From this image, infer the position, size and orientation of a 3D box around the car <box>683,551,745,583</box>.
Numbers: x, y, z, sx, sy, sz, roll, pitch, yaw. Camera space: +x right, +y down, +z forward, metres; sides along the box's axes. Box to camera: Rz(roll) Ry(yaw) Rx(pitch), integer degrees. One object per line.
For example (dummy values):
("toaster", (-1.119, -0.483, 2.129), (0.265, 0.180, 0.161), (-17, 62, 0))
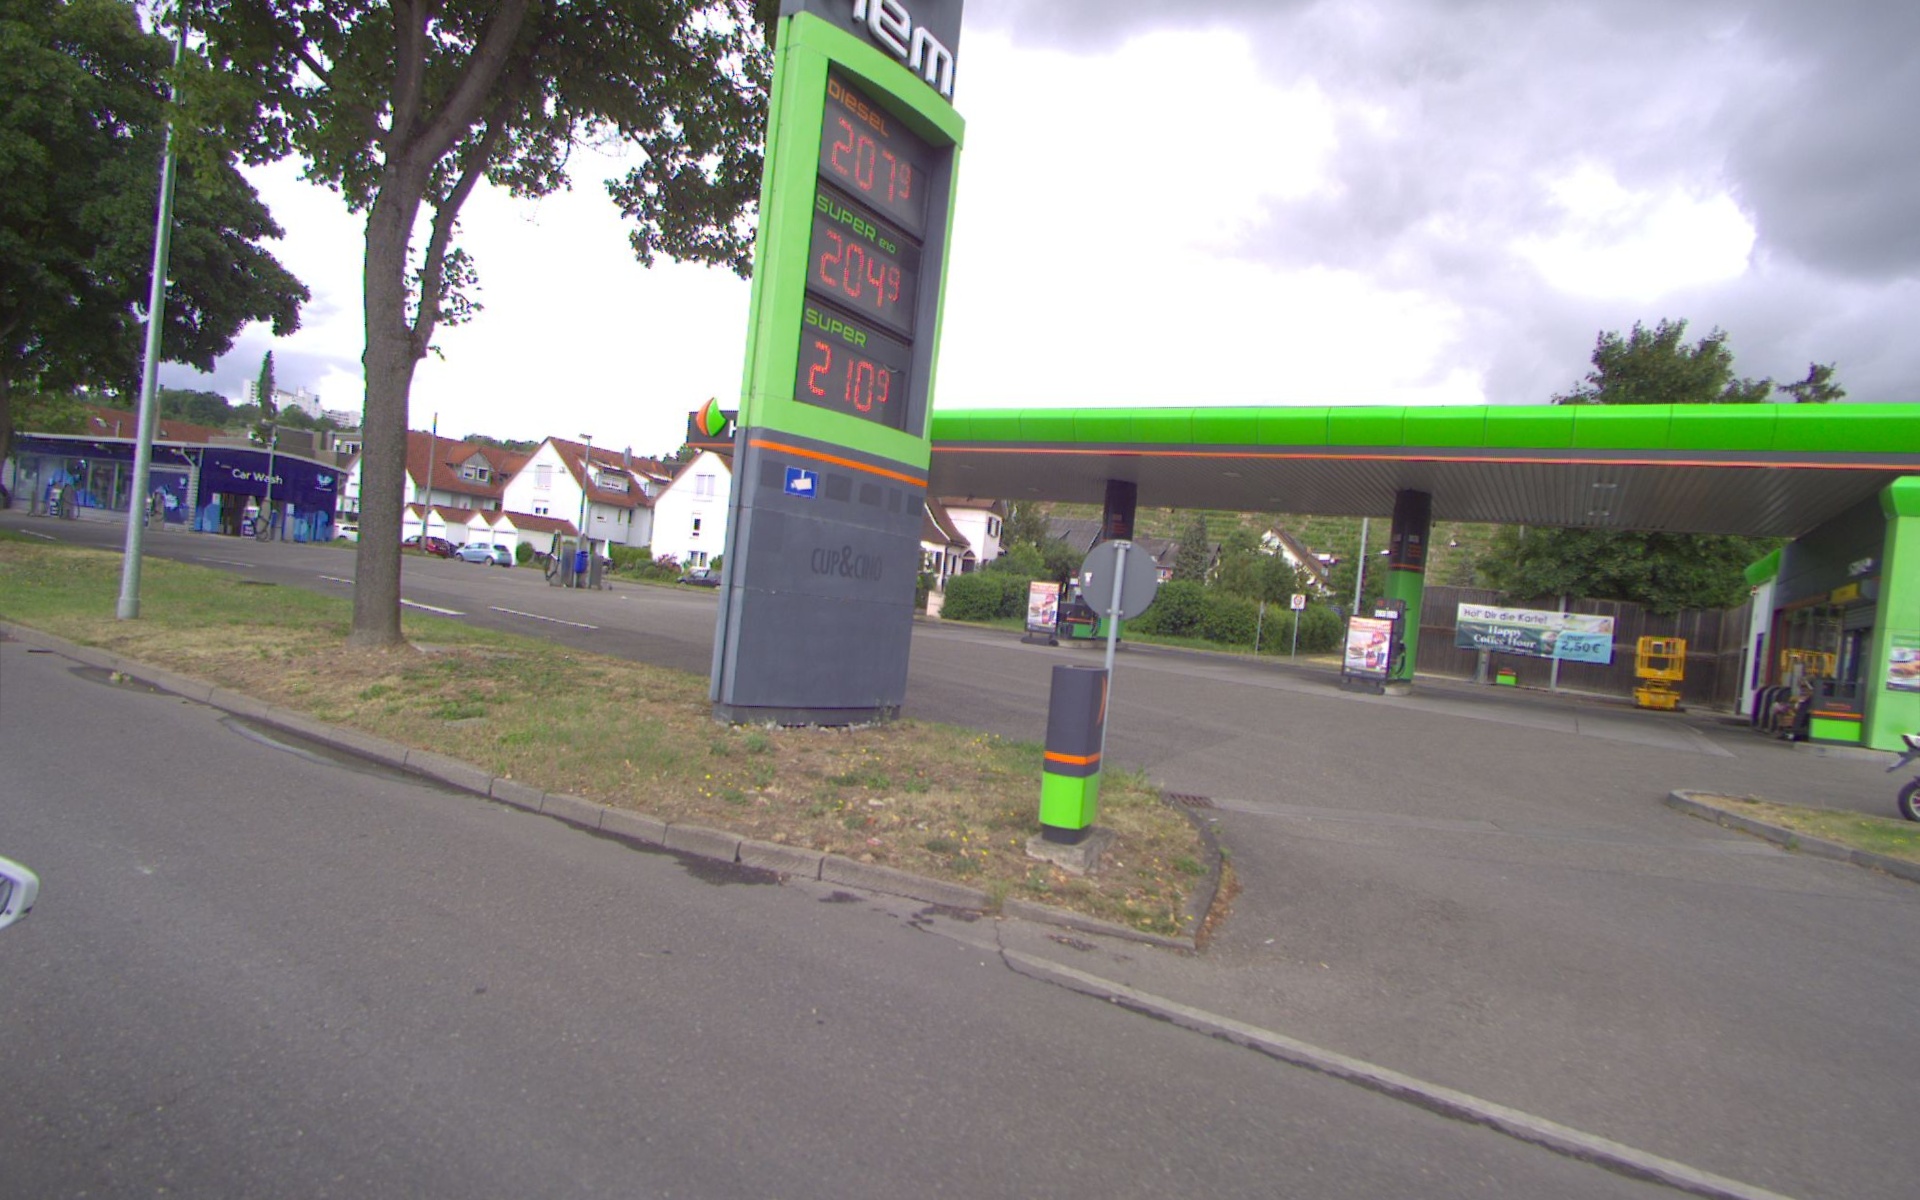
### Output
("car", (-16.727, -2.257, 68.368), (3.934, 1.705, 1.691), (7, 1, 32))

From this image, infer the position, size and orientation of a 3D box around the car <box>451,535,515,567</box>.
("car", (-31.725, -3.288, 66.950), (3.667, 1.618, 1.539), (7, -1, 19))

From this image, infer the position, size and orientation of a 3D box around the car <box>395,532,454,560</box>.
("car", (-36.520, -3.700, 68.668), (3.354, 1.411, 1.587), (7, -1, 19))

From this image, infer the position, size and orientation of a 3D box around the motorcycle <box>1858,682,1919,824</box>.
("motorcycle", (10.260, 1.617, 9.838), (1.957, 1.348, 0.856), (7, 1, 32))

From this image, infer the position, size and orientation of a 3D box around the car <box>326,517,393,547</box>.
("car", (-48.016, -5.446, 80.516), (1.747, 1.704, 4.226), (7, -2, 29))
